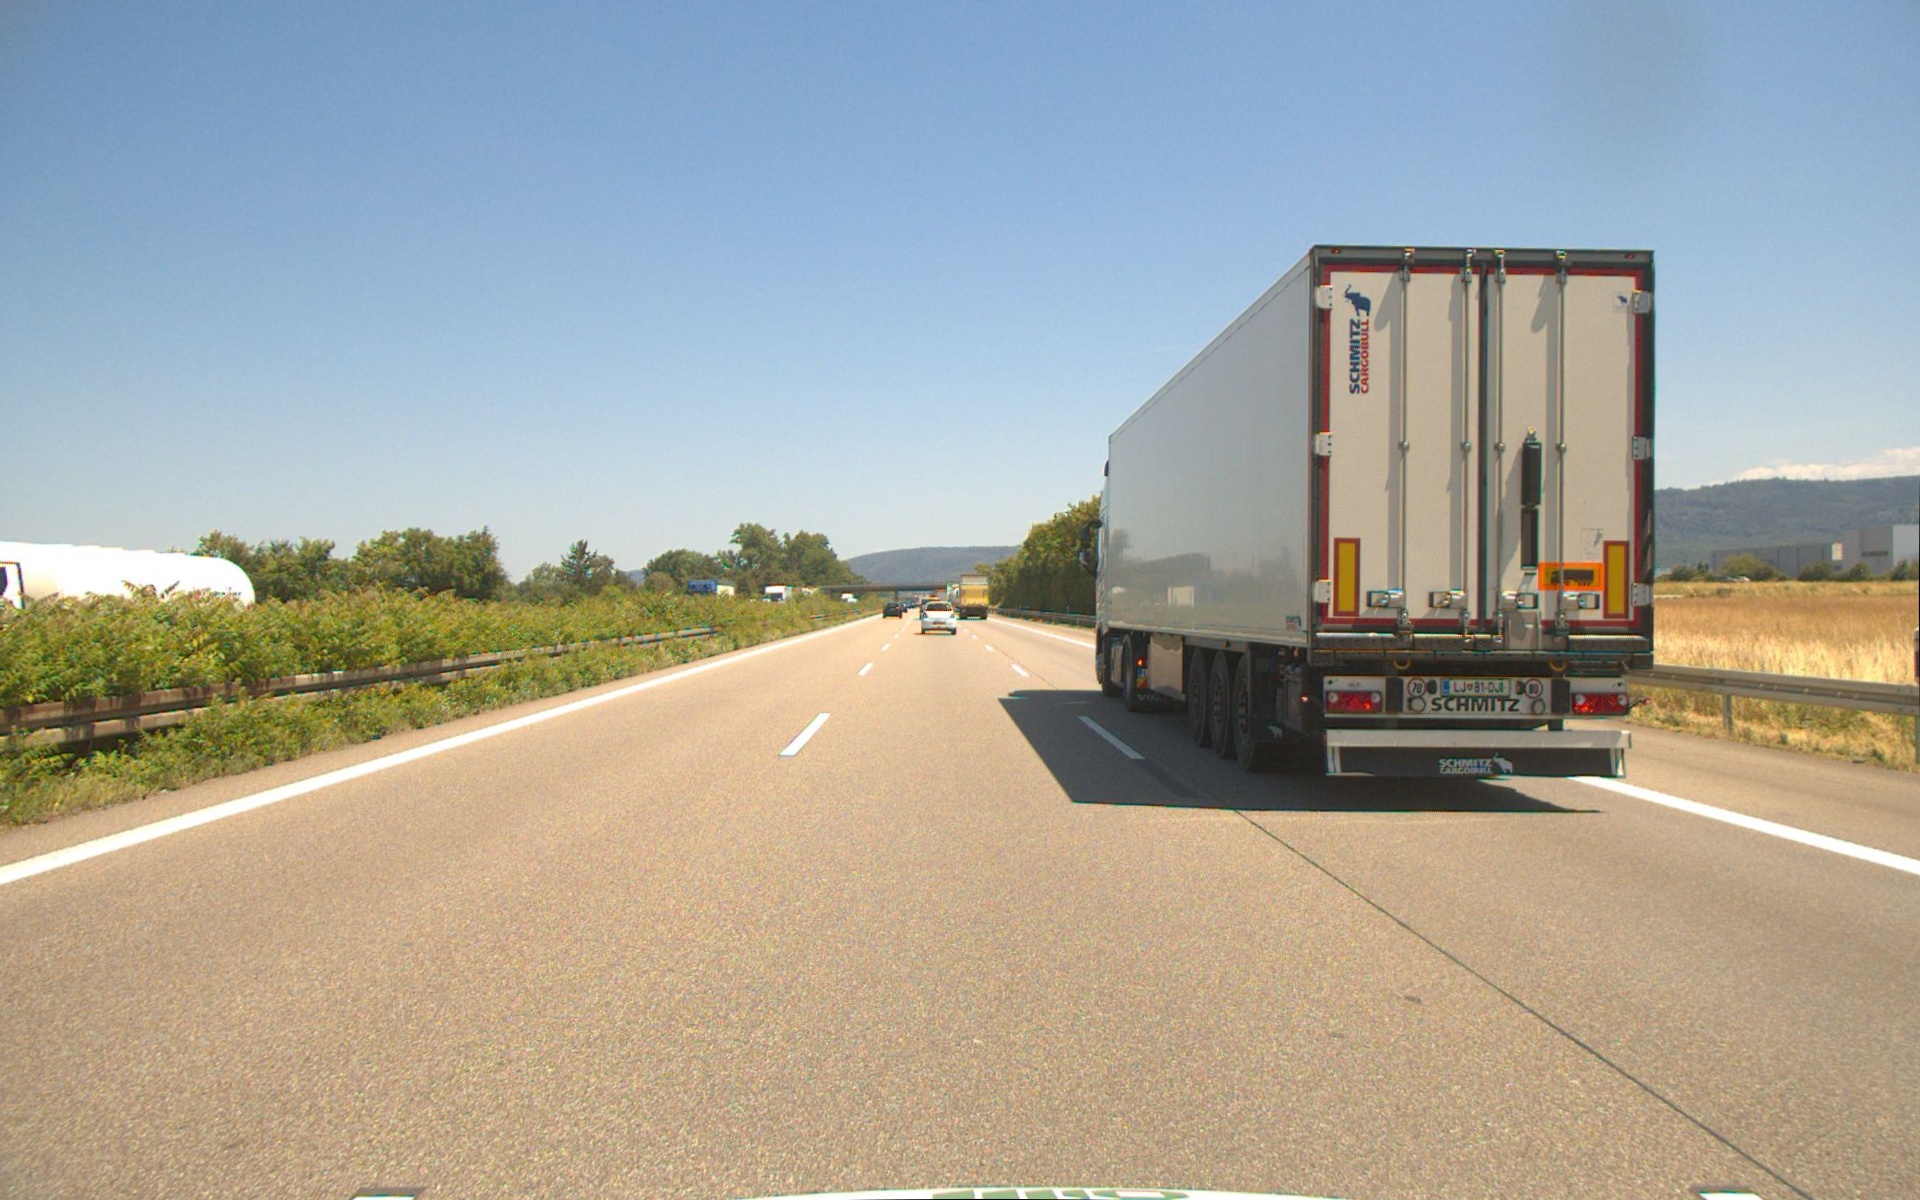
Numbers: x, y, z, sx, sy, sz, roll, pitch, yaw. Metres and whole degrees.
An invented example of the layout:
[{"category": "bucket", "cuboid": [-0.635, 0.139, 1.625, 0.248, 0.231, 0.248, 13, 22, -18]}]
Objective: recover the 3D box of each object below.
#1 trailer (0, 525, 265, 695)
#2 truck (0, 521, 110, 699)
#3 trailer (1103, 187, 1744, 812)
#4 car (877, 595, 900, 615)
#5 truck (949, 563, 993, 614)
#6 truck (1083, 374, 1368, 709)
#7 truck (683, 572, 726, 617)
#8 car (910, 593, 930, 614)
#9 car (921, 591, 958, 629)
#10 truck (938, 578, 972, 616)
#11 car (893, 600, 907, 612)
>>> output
[{"category": "trailer", "cuboid": [-21.037, 0.215, 40.705, 3.162, 3.578, 11.766, 0, 0, -1]}, {"category": "truck", "cuboid": [-20.895, 0.217, 34.921, 3.162, 3.578, 5.433, 0, 0, -2]}, {"category": "trailer", "cuboid": [3.918, -0.753, 18.670, 3.152, 4.421, 13.626, 1, 0, -1]}, {"category": "car", "cuboid": [-6.455, 0.403, 149.772, 1.953, 1.742, 3.999, -1, 0, -2]}, {"category": "truck", "cuboid": [0.910, -1.079, 153.740, 3.793, 4.421, 13.858, 1, 0, -1]}, {"category": "truck", "cuboid": [3.802, -0.798, 25.414, 3.152, 4.421, 6.589, 1, 0, -1]}, {"category": "truck", "cuboid": [-22.776, -0.514, 147.749, 3.070, 3.899, 5.832, 0, 0, -2]}, {"category": "car", "cuboid": [-3.459, 0.328, 142.928, 1.750, 1.742, 3.999, 1, 0, -2]}, {"category": "car", "cuboid": [-1.004, 0.447, 78.636, 1.697, 1.713, 3.999, -1, 0, -1]}, {"category": "truck", "cuboid": [-0.696, -0.356, 213.560, 4.184, 4.733, 13.857, 0, 0, -1]}, {"category": "car", "cuboid": [-8.419, 0.824, 232.202, 1.759, 1.578, 3.999, 0, 0, -1]}]
